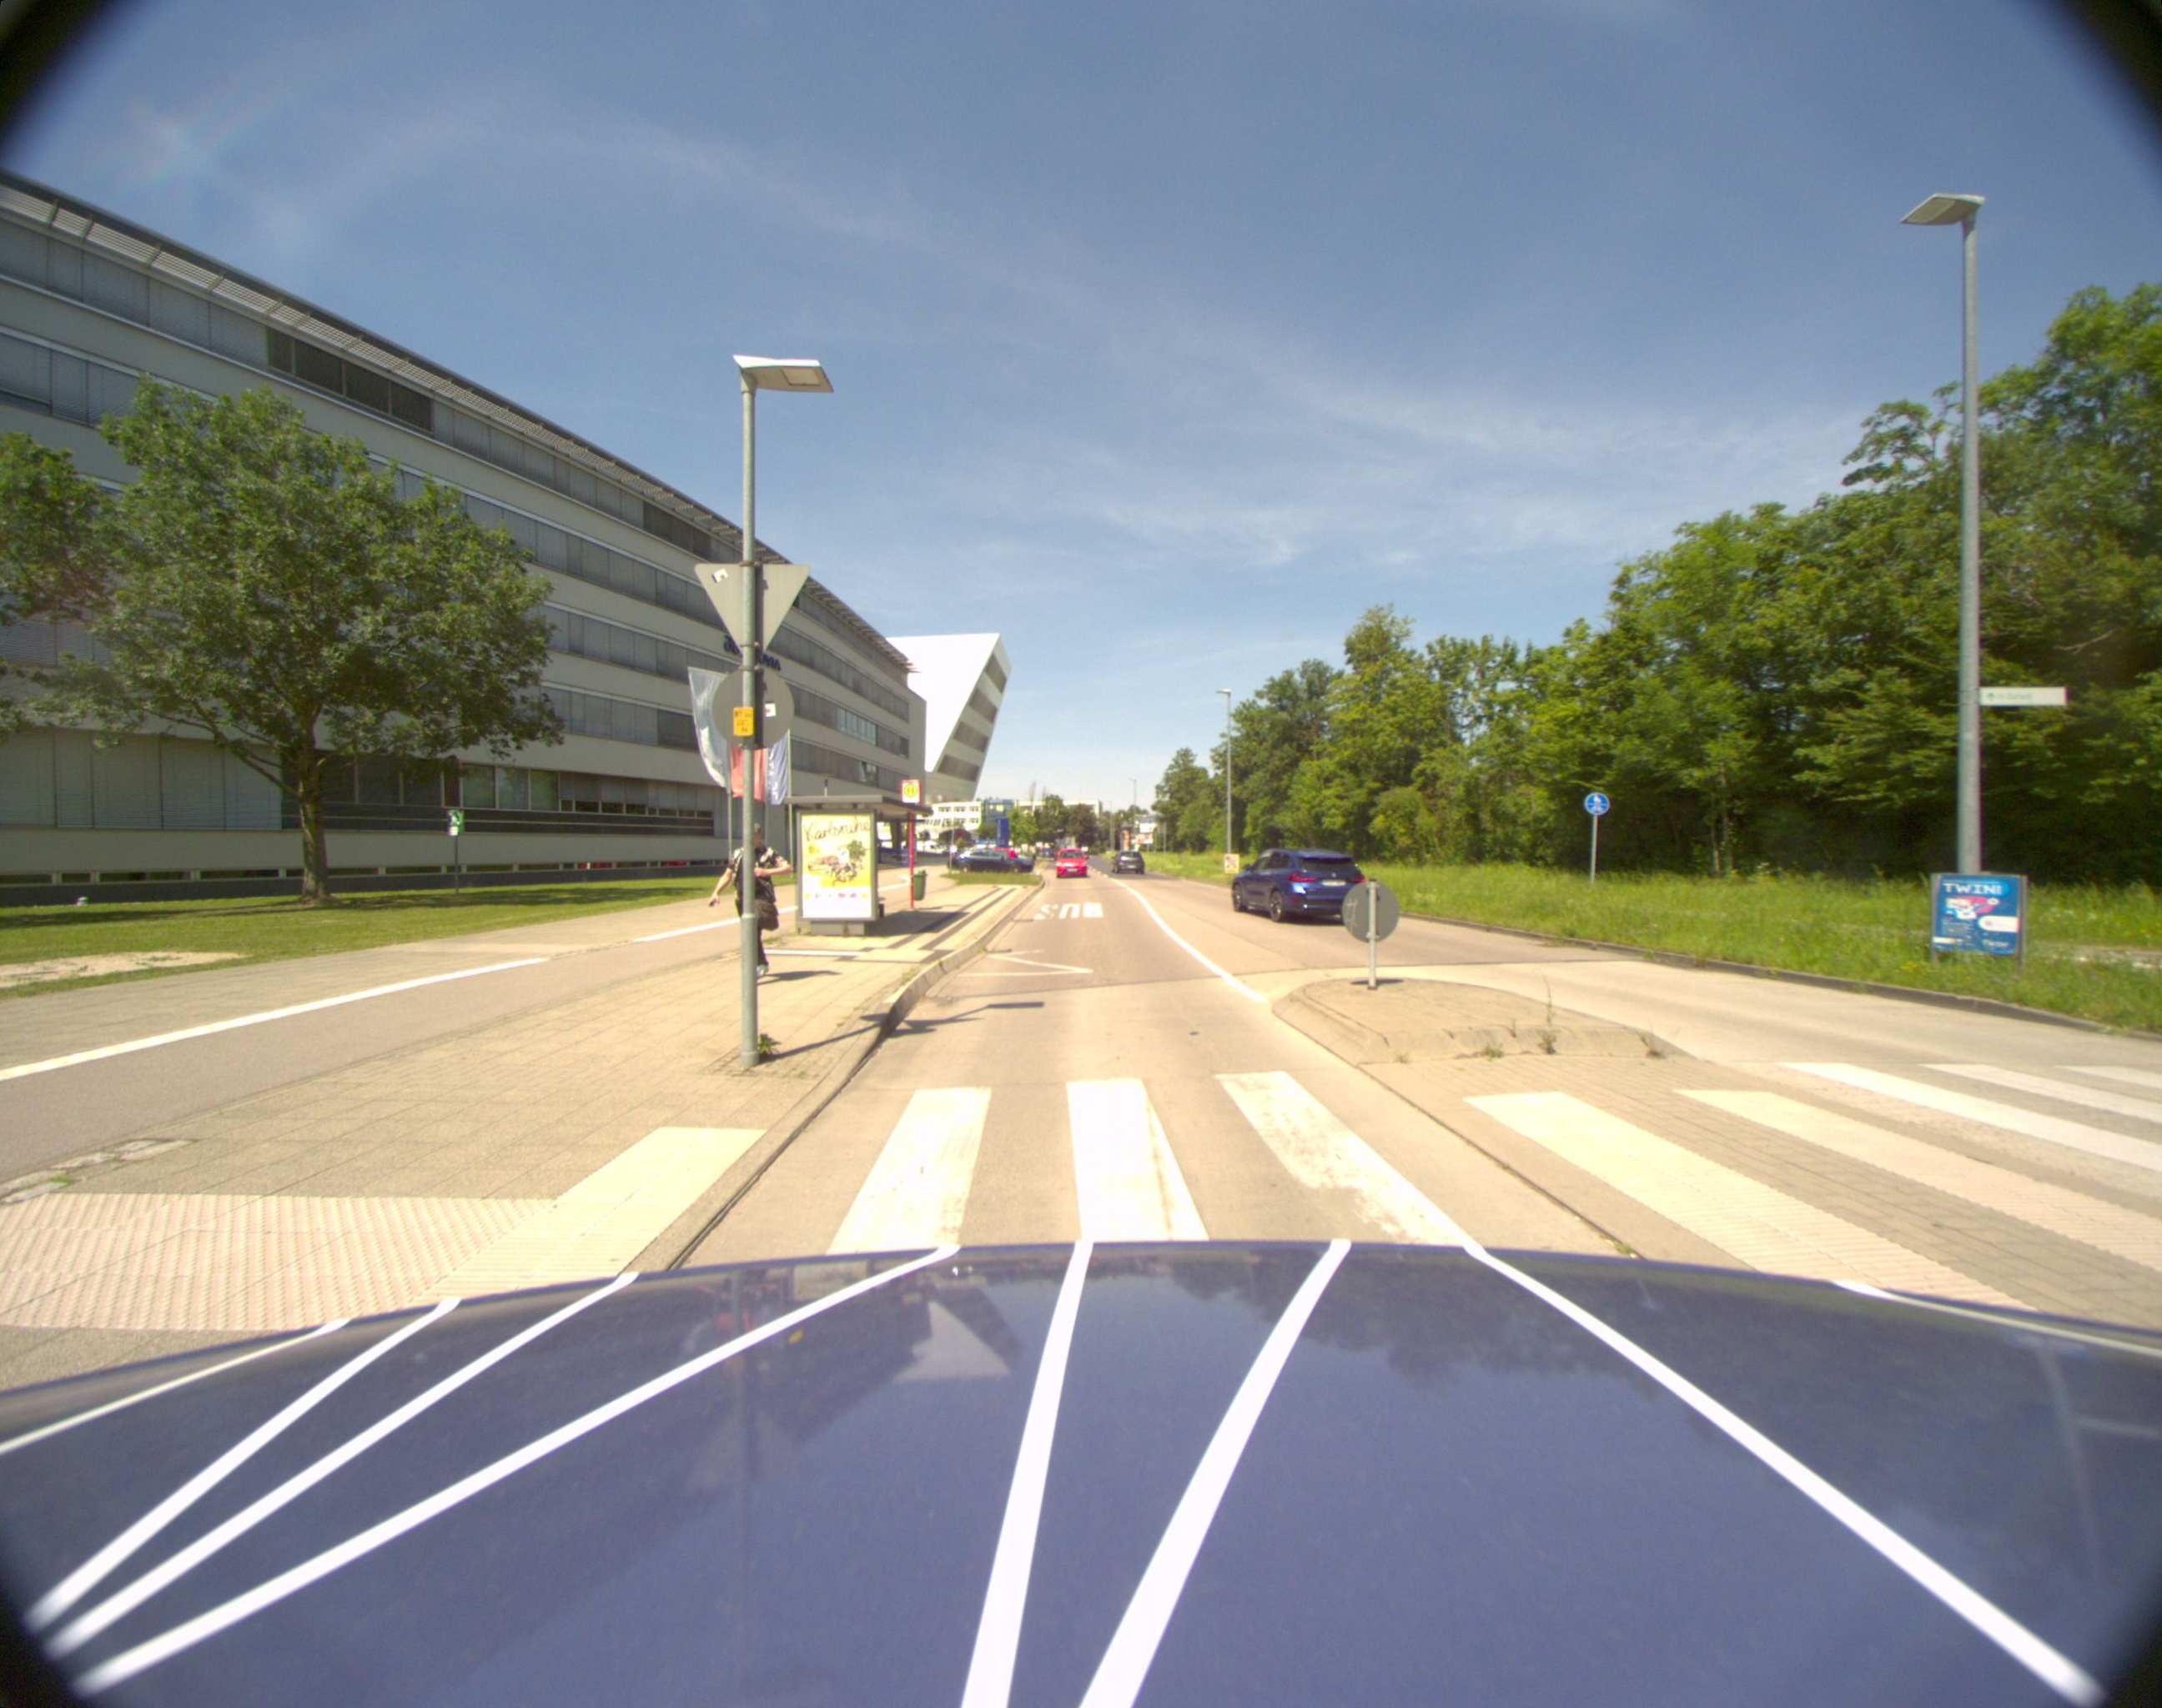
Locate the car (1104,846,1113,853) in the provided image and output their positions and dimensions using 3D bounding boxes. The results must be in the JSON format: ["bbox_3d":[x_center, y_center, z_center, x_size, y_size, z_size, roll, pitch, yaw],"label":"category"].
[{"bbox_3d":[6.501,-1.026,179.068,1.998,1.622,3.999,-2,1,1],"label":"car"}]

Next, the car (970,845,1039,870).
[{"bbox_3d":[-4.993,0.194,50.046,4.332,1.555,1.785,1,1,0],"label":"car"}]

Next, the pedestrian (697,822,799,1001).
[{"bbox_3d":[-3.555,0.582,8.166,0.710,1.812,0.826,2,2,-1],"label":"pedestrian"}]

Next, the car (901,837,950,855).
[{"bbox_3d":[-23.852,-1.254,116.921,6.960,2.647,2.256,-1,1,9],"label":"car"}]

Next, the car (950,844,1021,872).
[{"bbox_3d":[-5.679,0.225,45.516,3.997,1.646,1.839,0,1,1],"label":"car"}]

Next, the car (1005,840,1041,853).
[{"bbox_3d":[-10.906,-1.427,143.638,6.492,2.137,2.165,-1,1,5],"label":"car"}]

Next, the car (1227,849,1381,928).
[{"bbox_3d":[4.918,0.731,17.483,1.999,1.586,4.321,0,-1,-4],"label":"car"}]

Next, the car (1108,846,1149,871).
[{"bbox_3d":[2.898,0.288,47.336,1.999,1.470,4.287,1,0,-4],"label":"car"}]

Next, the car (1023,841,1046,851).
[{"bbox_3d":[-9.161,-1.590,149.419,4.204,1.964,1.704,-1,1,5],"label":"car"}]

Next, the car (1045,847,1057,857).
[{"bbox_3d":[-4.933,-0.359,124.918,1.802,1.490,3.998,-2,1,-2],"label":"car"}]

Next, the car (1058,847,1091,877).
[{"bbox_3d":[-0.321,0.394,40.583,1.662,1.495,3.356,-2,1,1],"label":"car"}]

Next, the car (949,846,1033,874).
[{"bbox_3d":[-5.006,0.336,42.823,4.580,1.424,1.826,1,1,-4],"label":"car"}]
